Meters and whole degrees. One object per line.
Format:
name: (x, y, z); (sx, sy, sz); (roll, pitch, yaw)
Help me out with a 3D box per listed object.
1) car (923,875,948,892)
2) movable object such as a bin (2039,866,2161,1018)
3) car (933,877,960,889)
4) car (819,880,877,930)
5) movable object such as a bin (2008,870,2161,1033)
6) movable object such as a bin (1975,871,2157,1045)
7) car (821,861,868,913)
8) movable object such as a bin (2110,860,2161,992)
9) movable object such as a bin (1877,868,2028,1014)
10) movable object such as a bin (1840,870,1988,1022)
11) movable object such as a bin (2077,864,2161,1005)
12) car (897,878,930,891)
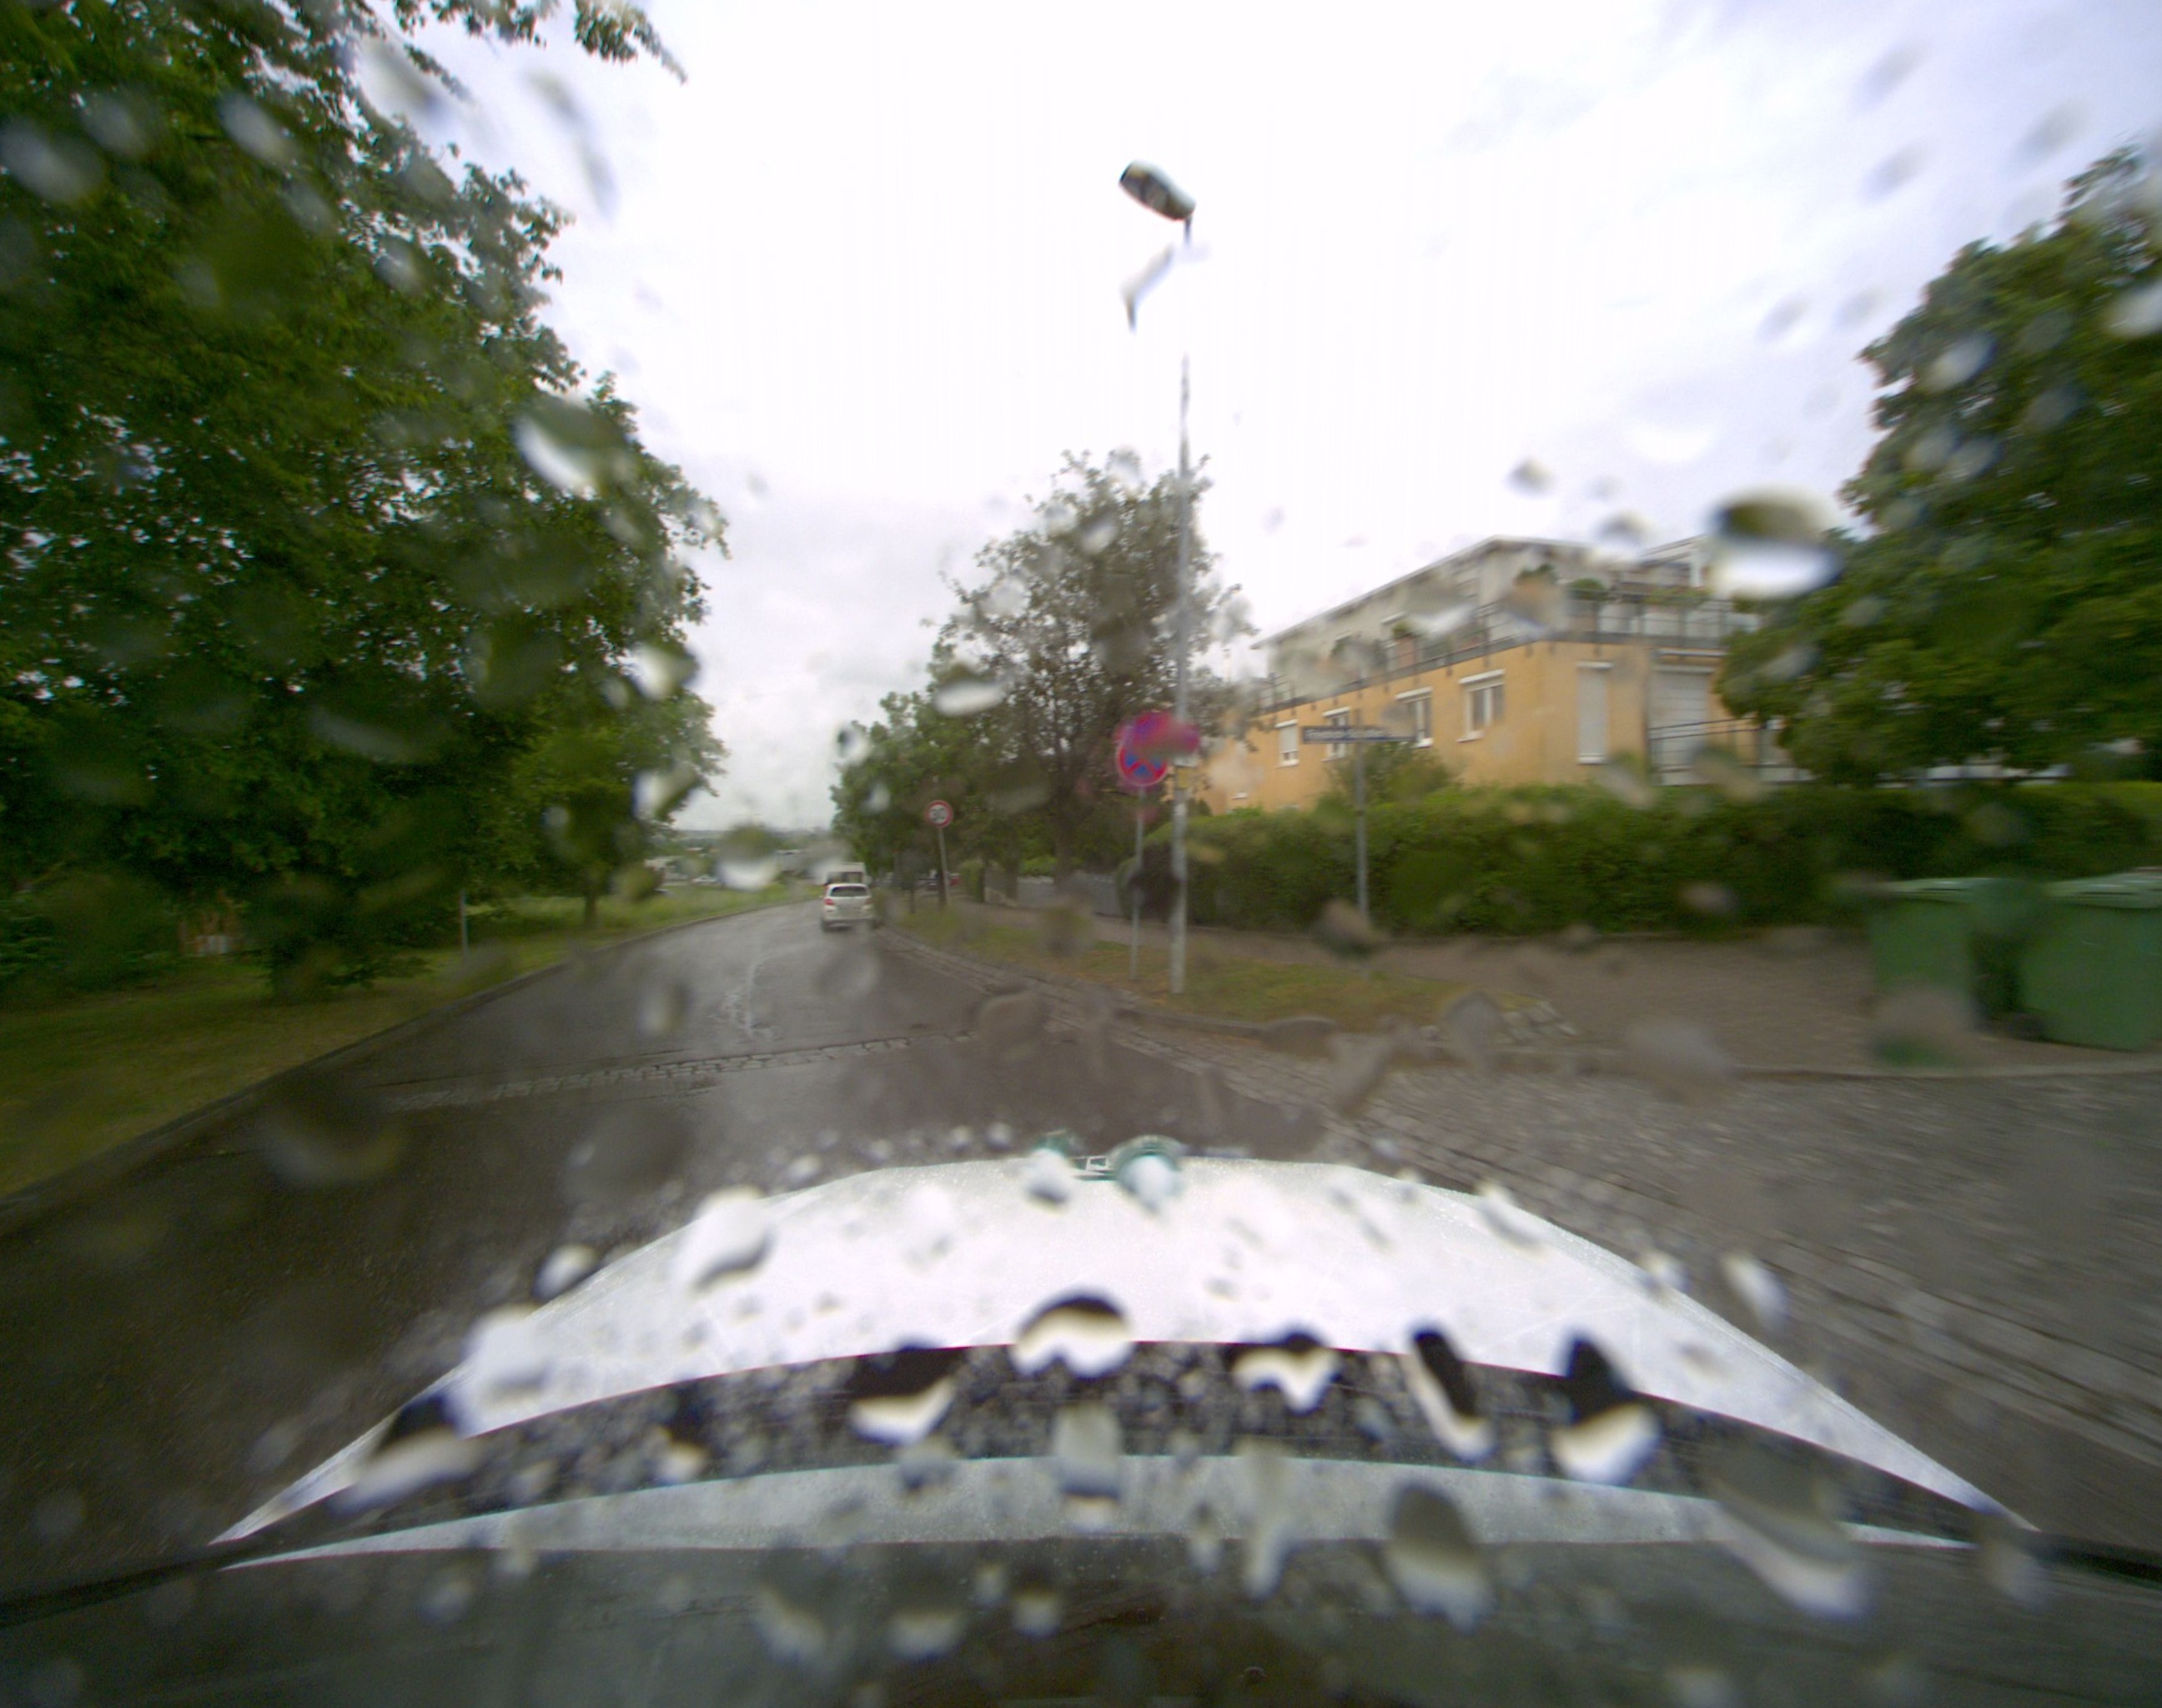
car: (-15.309, 3.106, 85.872); (1.678, 1.552, 3.703); (-1, 0, 6)
movable object such as a bin: (7.918, 0.639, 6.200); (0.580, 1.067, 0.690); (-2, 1, -28)
car: (-19.665, 4.209, 119.021); (3.545, 1.606, 1.694); (-3, -2, 4)
car: (-7.774, 1.636, 26.988); (1.611, 1.503, 3.701); (-1, -2, -19)
movable object such as a bin: (7.375, 0.667, 5.940); (0.545, 1.074, 0.690); (-2, 1, -28)
movable object such as a bin: (6.833, 0.675, 5.664); (0.603, 1.074, 0.690); (-2, 1, -28)
car: (-12.069, 1.675, 41.782); (2.121, 2.468, 5.480); (-1, -2, -15)
movable object such as a bin: (9.141, 0.591, 6.726); (0.607, 1.055, 0.690); (-2, 1, -28)
movable object such as a bin: (7.037, 0.665, 6.591); (0.599, 1.072, 0.690); (-2, 1, -28)
movable object such as a bin: (6.470, 0.676, 6.340); (0.545, 1.073, 0.661); (-2, 1, -27)
movable object such as a bin: (8.498, 0.622, 6.433); (0.607, 1.055, 0.690); (-2, 1, -28)
car: (-21.728, 3.982, 105.824); (3.857, 1.547, 1.773); (-2, -2, 0)
